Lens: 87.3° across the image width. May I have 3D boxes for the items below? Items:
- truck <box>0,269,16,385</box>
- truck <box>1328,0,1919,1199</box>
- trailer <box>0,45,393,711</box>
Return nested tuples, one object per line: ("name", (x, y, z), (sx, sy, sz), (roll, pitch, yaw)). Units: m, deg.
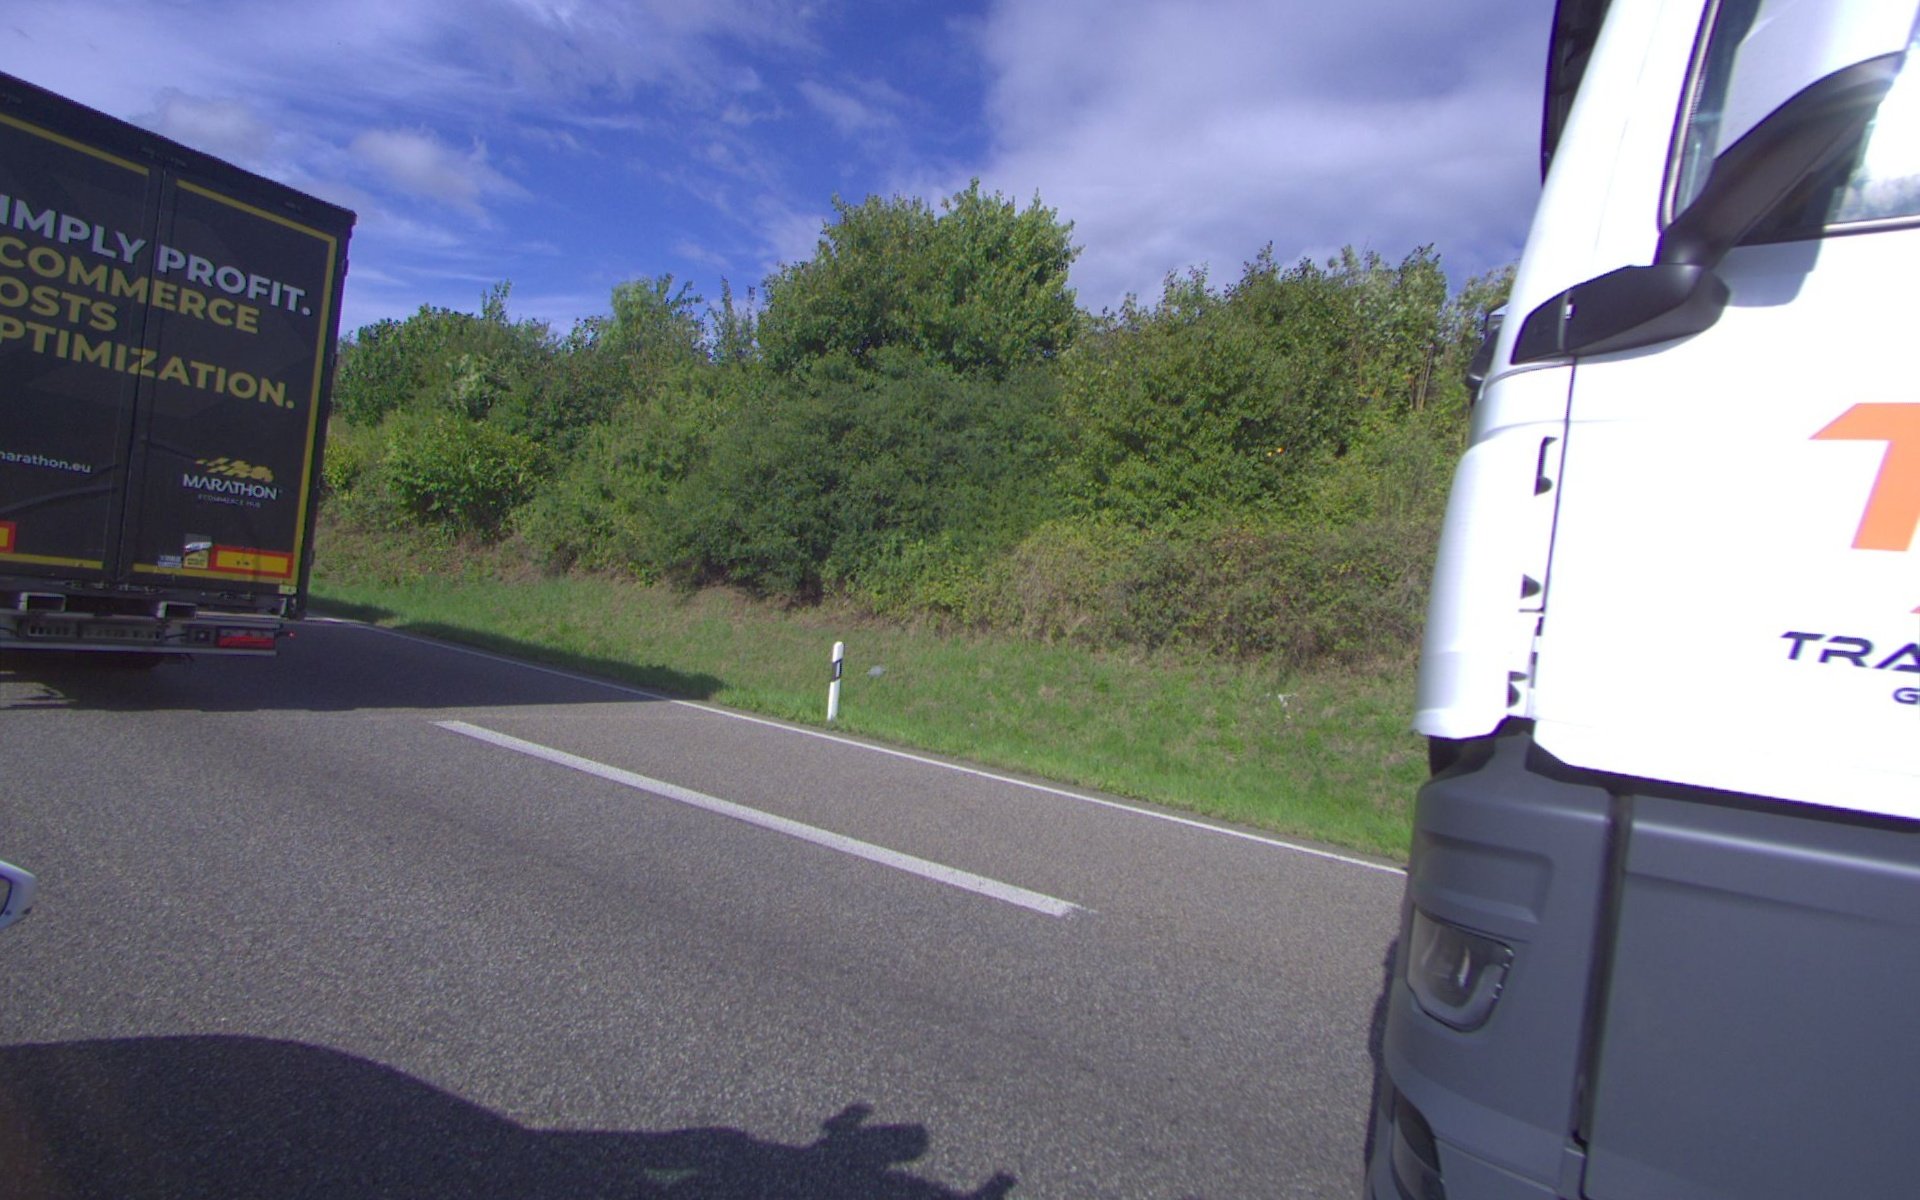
("truck", (-17.046, -2.708, 14.051), (10.033, 4.084, 2.746), (7, -2, 32))
("truck", (5.421, 0.098, 0.184), (9.504, 4.115, 2.417), (7, -1, 32))
("trailer", (-9.154, -1.710, 9.162), (8.566, 4.006, 2.721), (7, -1, 32))
